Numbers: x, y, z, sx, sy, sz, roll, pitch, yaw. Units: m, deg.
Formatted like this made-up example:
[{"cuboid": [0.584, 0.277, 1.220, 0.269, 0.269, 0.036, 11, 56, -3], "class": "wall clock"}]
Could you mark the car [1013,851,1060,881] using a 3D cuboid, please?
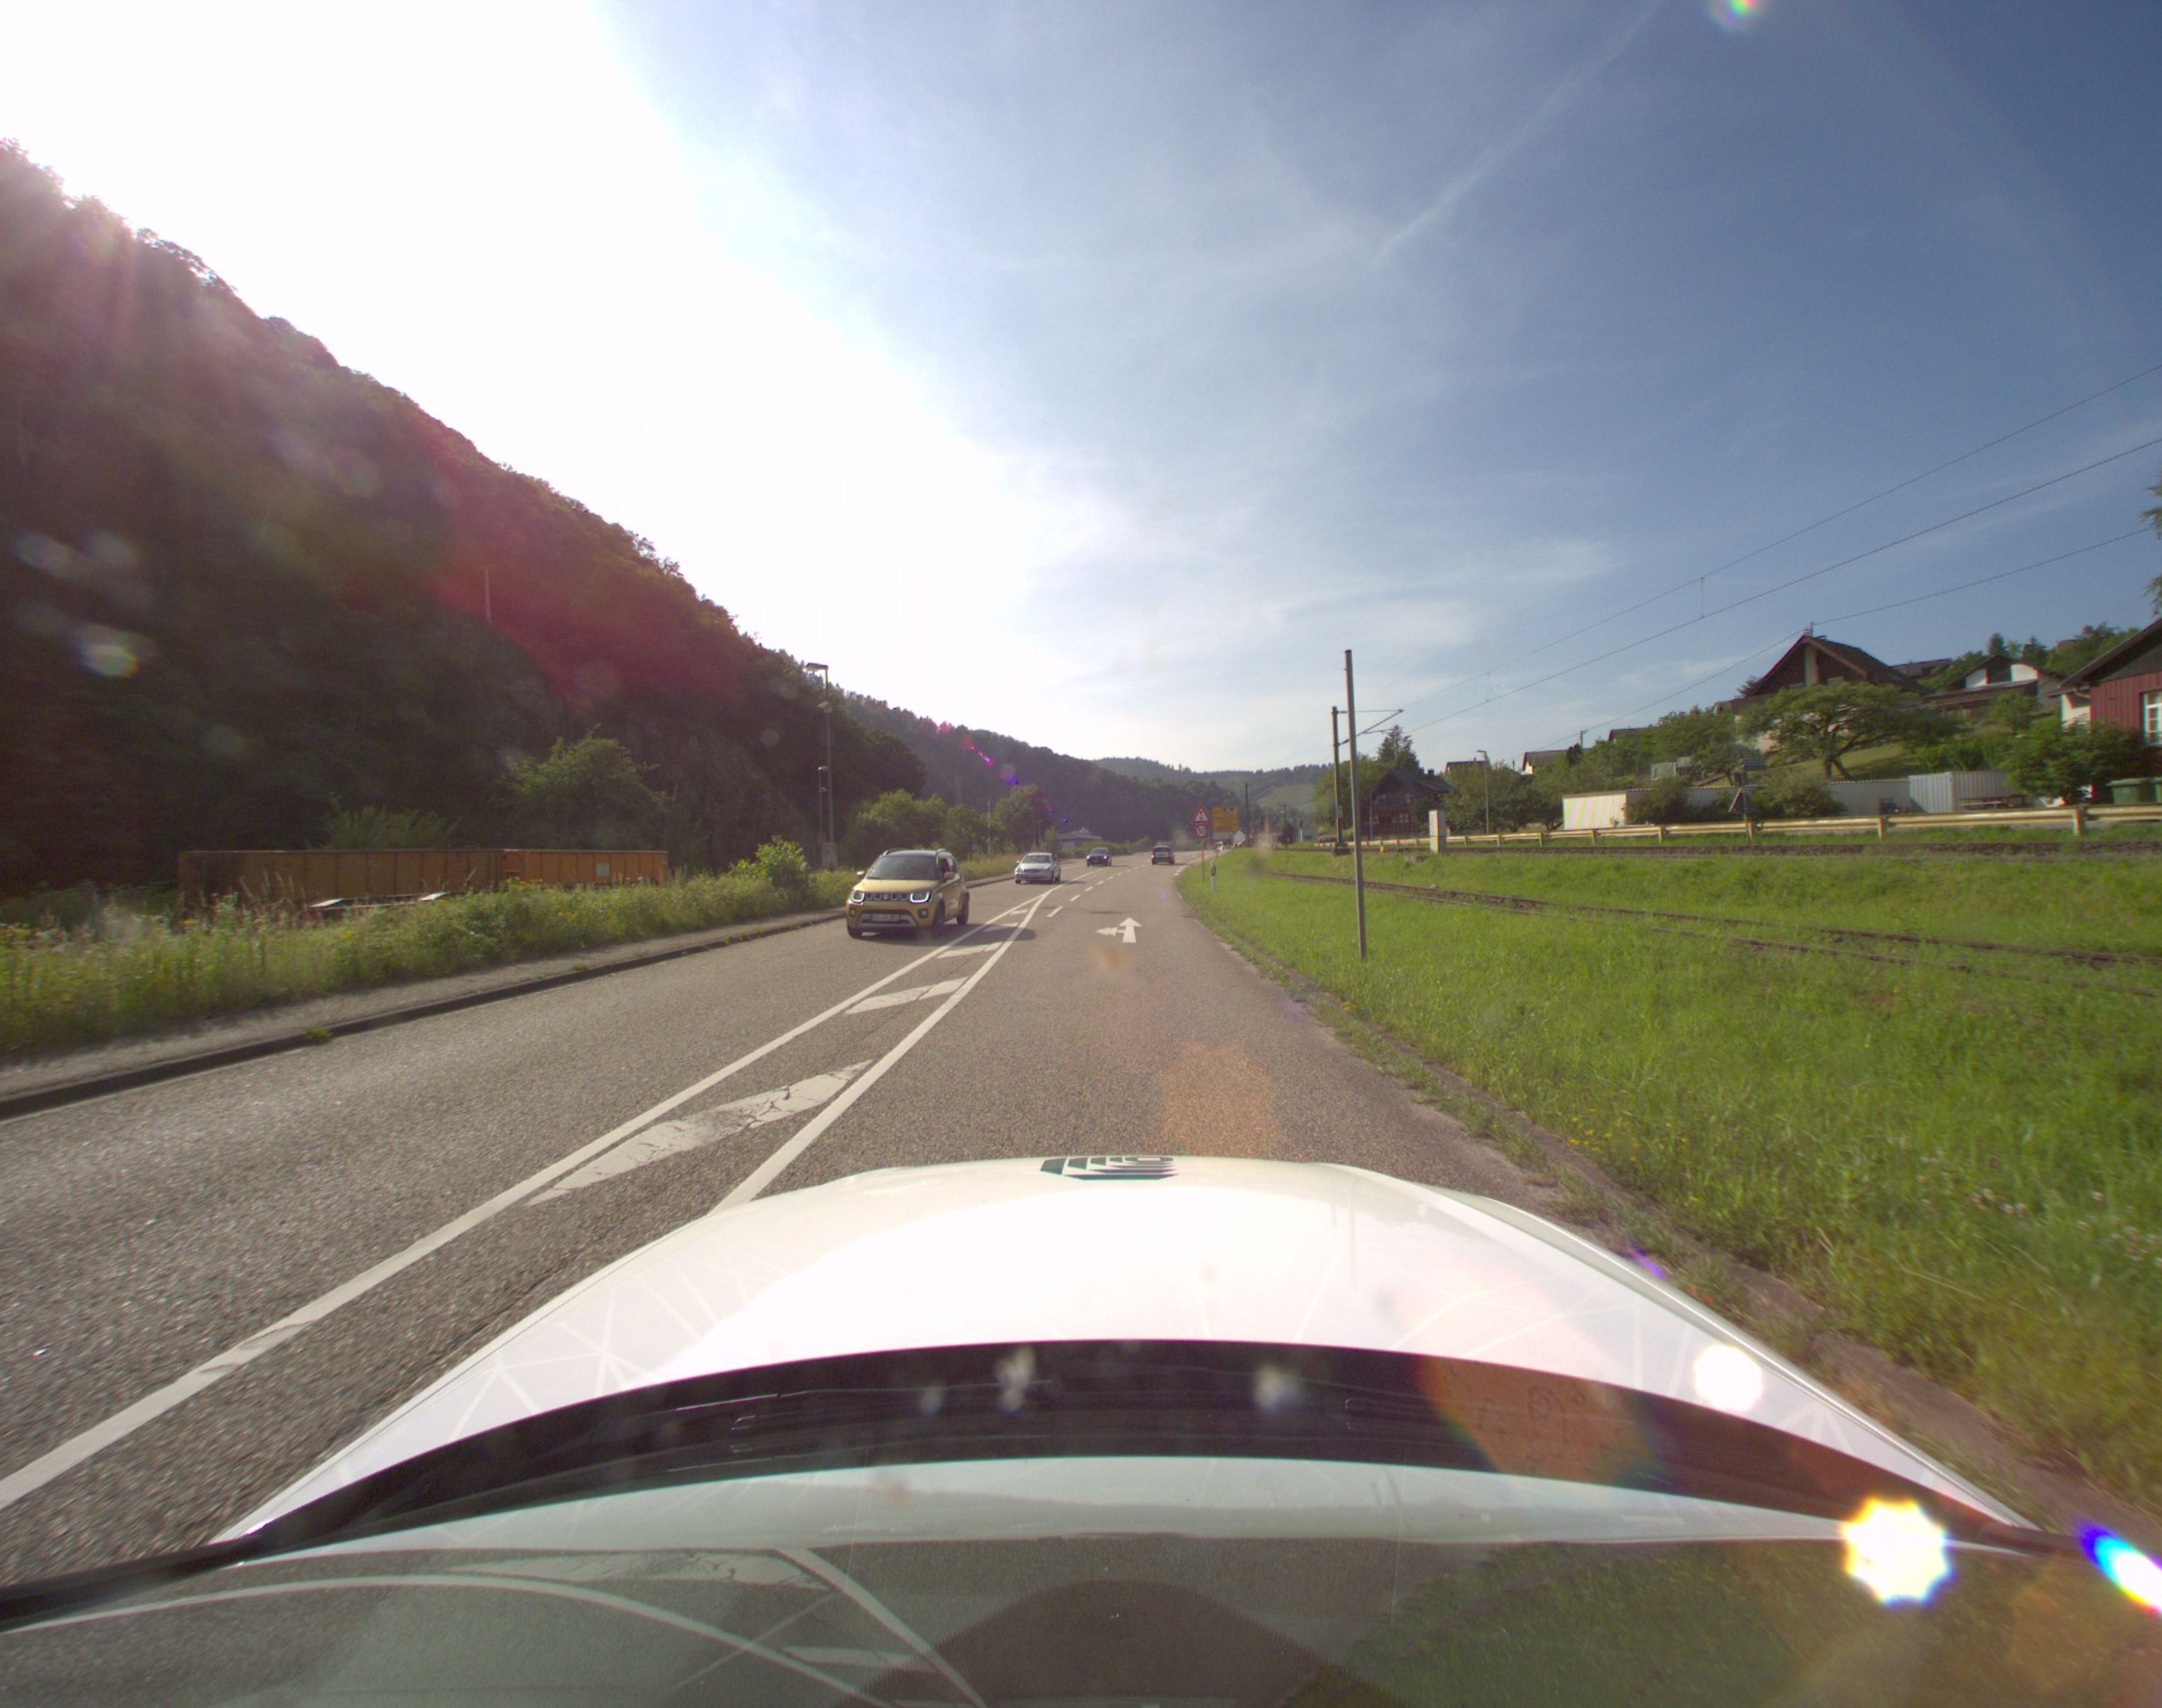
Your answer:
[{"cuboid": [-2.058, 0.537, 38.639, 1.771, 1.348, 4.513, 1, 0, 2], "class": "car"}]

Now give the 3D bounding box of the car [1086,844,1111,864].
[{"cuboid": [1.511, -0.015, 68.109, 1.839, 1.585, 4.322, 0, 0, 4], "class": "car"}]

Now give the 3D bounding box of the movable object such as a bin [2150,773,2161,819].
[{"cuboid": [25.198, -1.326, 18.432, 0.804, 1.050, 0.913, 0, 0, 4], "class": "movable object such as a bin"}]

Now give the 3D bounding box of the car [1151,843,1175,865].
[{"cuboid": [7.221, -0.005, 72.148, 1.984, 1.723, 3.995, -4, 0, 5], "class": "car"}]

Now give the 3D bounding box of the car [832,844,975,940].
[{"cuboid": [-3.271, 0.642, 15.771, 1.716, 1.624, 3.800, 0, 0, 4], "class": "car"}]

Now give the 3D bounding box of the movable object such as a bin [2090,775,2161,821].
[{"cuboid": [25.256, -1.333, 19.617, 0.804, 1.050, 0.913, 0, 0, 4], "class": "movable object such as a bin"}]

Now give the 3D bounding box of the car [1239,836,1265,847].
[{"cuboid": [37.616, -2.823, 179.253, 5.257, 2.013, 2.001, -4, 0, 2], "class": "car"}]
